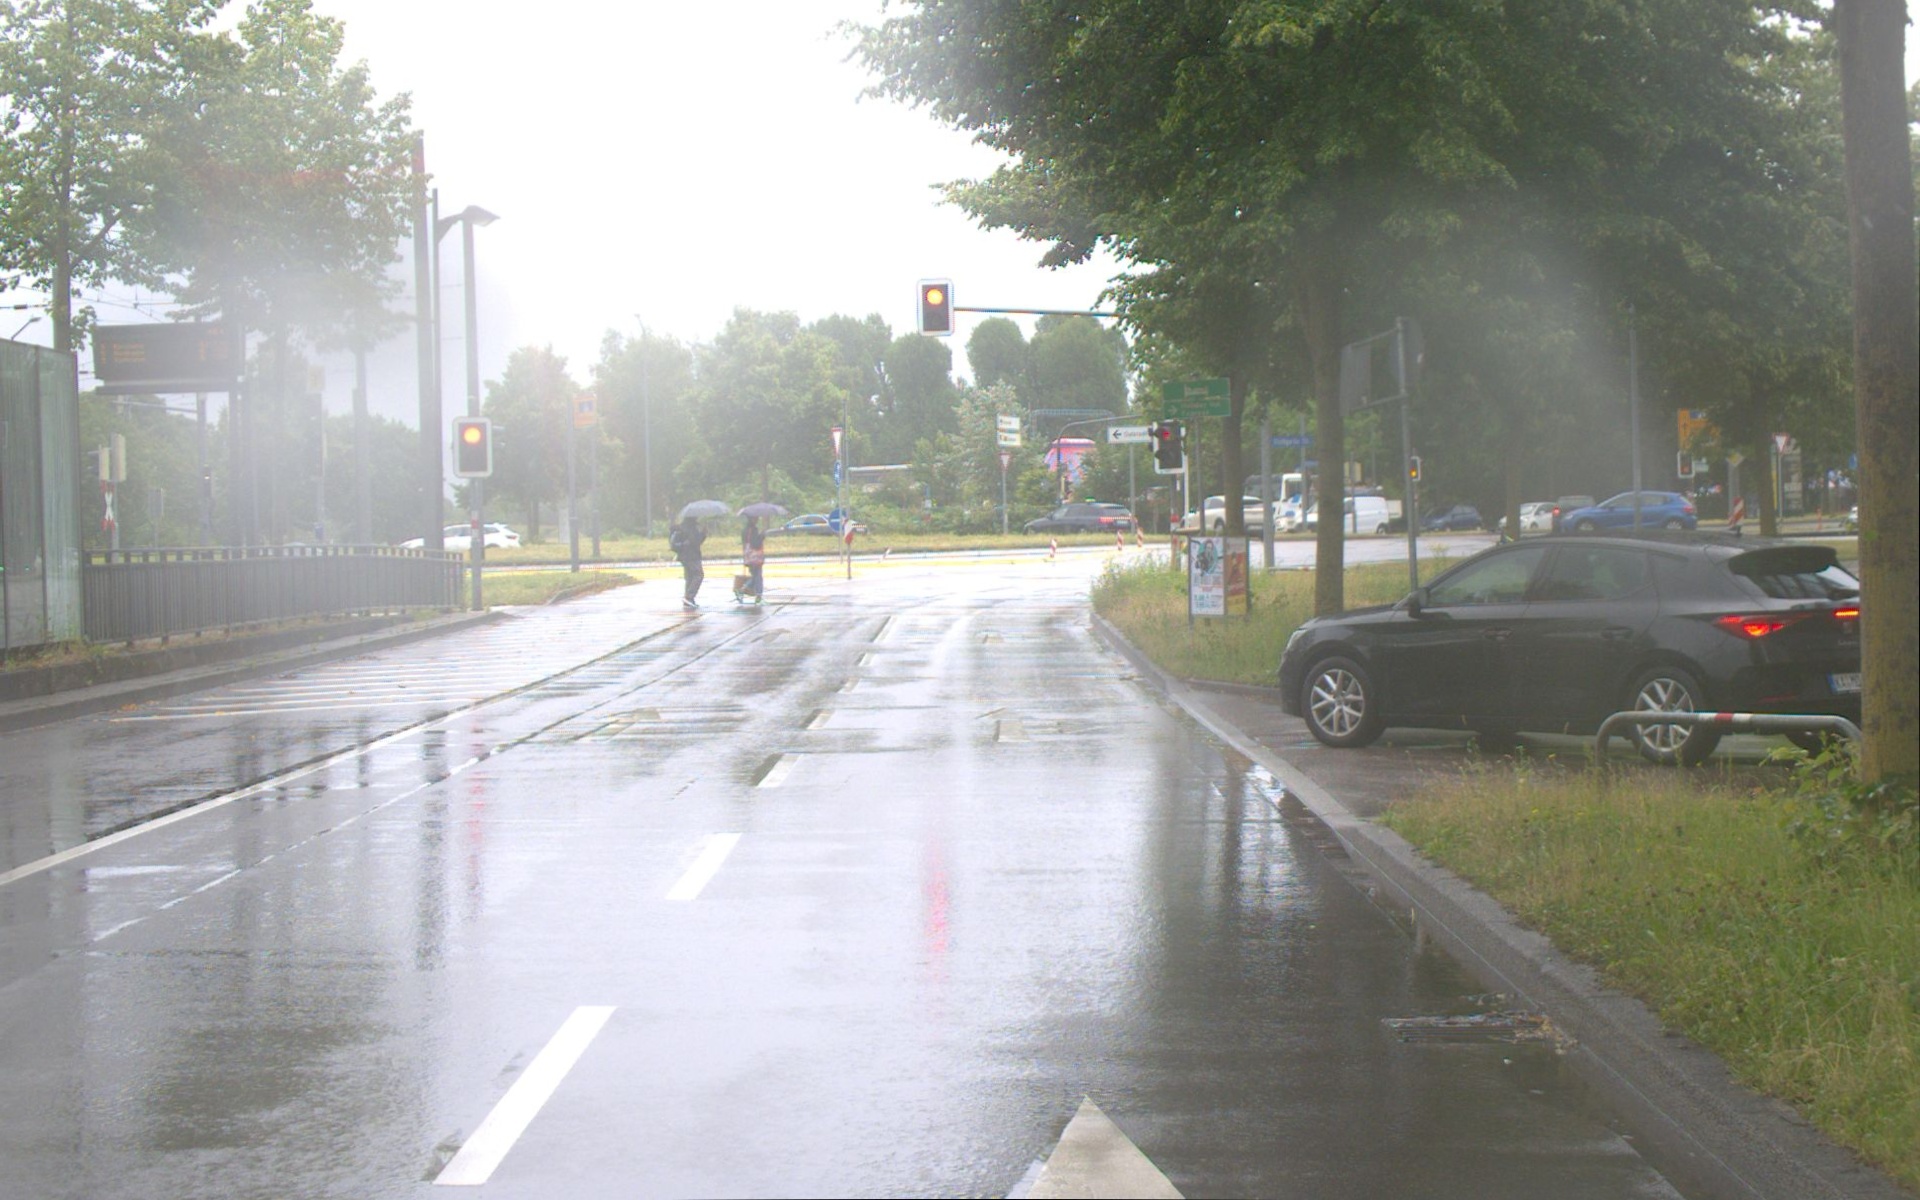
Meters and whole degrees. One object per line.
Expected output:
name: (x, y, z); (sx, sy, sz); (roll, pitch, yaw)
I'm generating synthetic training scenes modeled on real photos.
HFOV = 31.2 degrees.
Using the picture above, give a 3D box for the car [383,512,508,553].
car: (-19.438, -2.551, 129.728); (4.606, 1.449, 1.624); (-1, 2, -10)

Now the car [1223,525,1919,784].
car: (3.888, 0.264, 22.020); (1.828, 1.415, 4.344); (-3, 3, -41)

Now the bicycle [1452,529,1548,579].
bicycle: (8.702, -0.753, 55.443); (0.379, 0.784, 1.859); (1, 1, -32)

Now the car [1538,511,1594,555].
car: (20.938, -2.320, 118.679); (1.619, 1.449, 3.985); (-1, 2, 14)

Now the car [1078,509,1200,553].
car: (6.091, -2.356, 117.442); (3.984, 1.449, 1.620); (0, 2, 41)

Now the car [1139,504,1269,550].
car: (7.970, -2.388, 112.379); (4.110, 1.449, 1.619); (0, 2, 43)

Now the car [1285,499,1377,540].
car: (15.871, -3.438, 146.858); (1.801, 1.656, 4.124); (2, 1, 43)

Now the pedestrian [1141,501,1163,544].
pedestrian: (5.884, -2.373, 105.288); (0.453, 1.300, 0.485); (0, 2, 40)

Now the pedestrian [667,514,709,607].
pedestrian: (-4.511, -0.656, 56.982); (0.621, 1.517, 0.741); (1, 1, 0)

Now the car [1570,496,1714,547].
car: (20.444, -2.368, 103.132); (3.974, 1.449, 1.623); (-1, 2, 1)

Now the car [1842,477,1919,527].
car: (28.414, -2.935, 102.160); (3.974, 1.449, 1.624); (-1, 2, 0)

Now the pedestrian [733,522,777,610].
pedestrian: (-3.467, -0.572, 58.192); (0.680, 1.456, 0.573); (-2, 1, -3)
